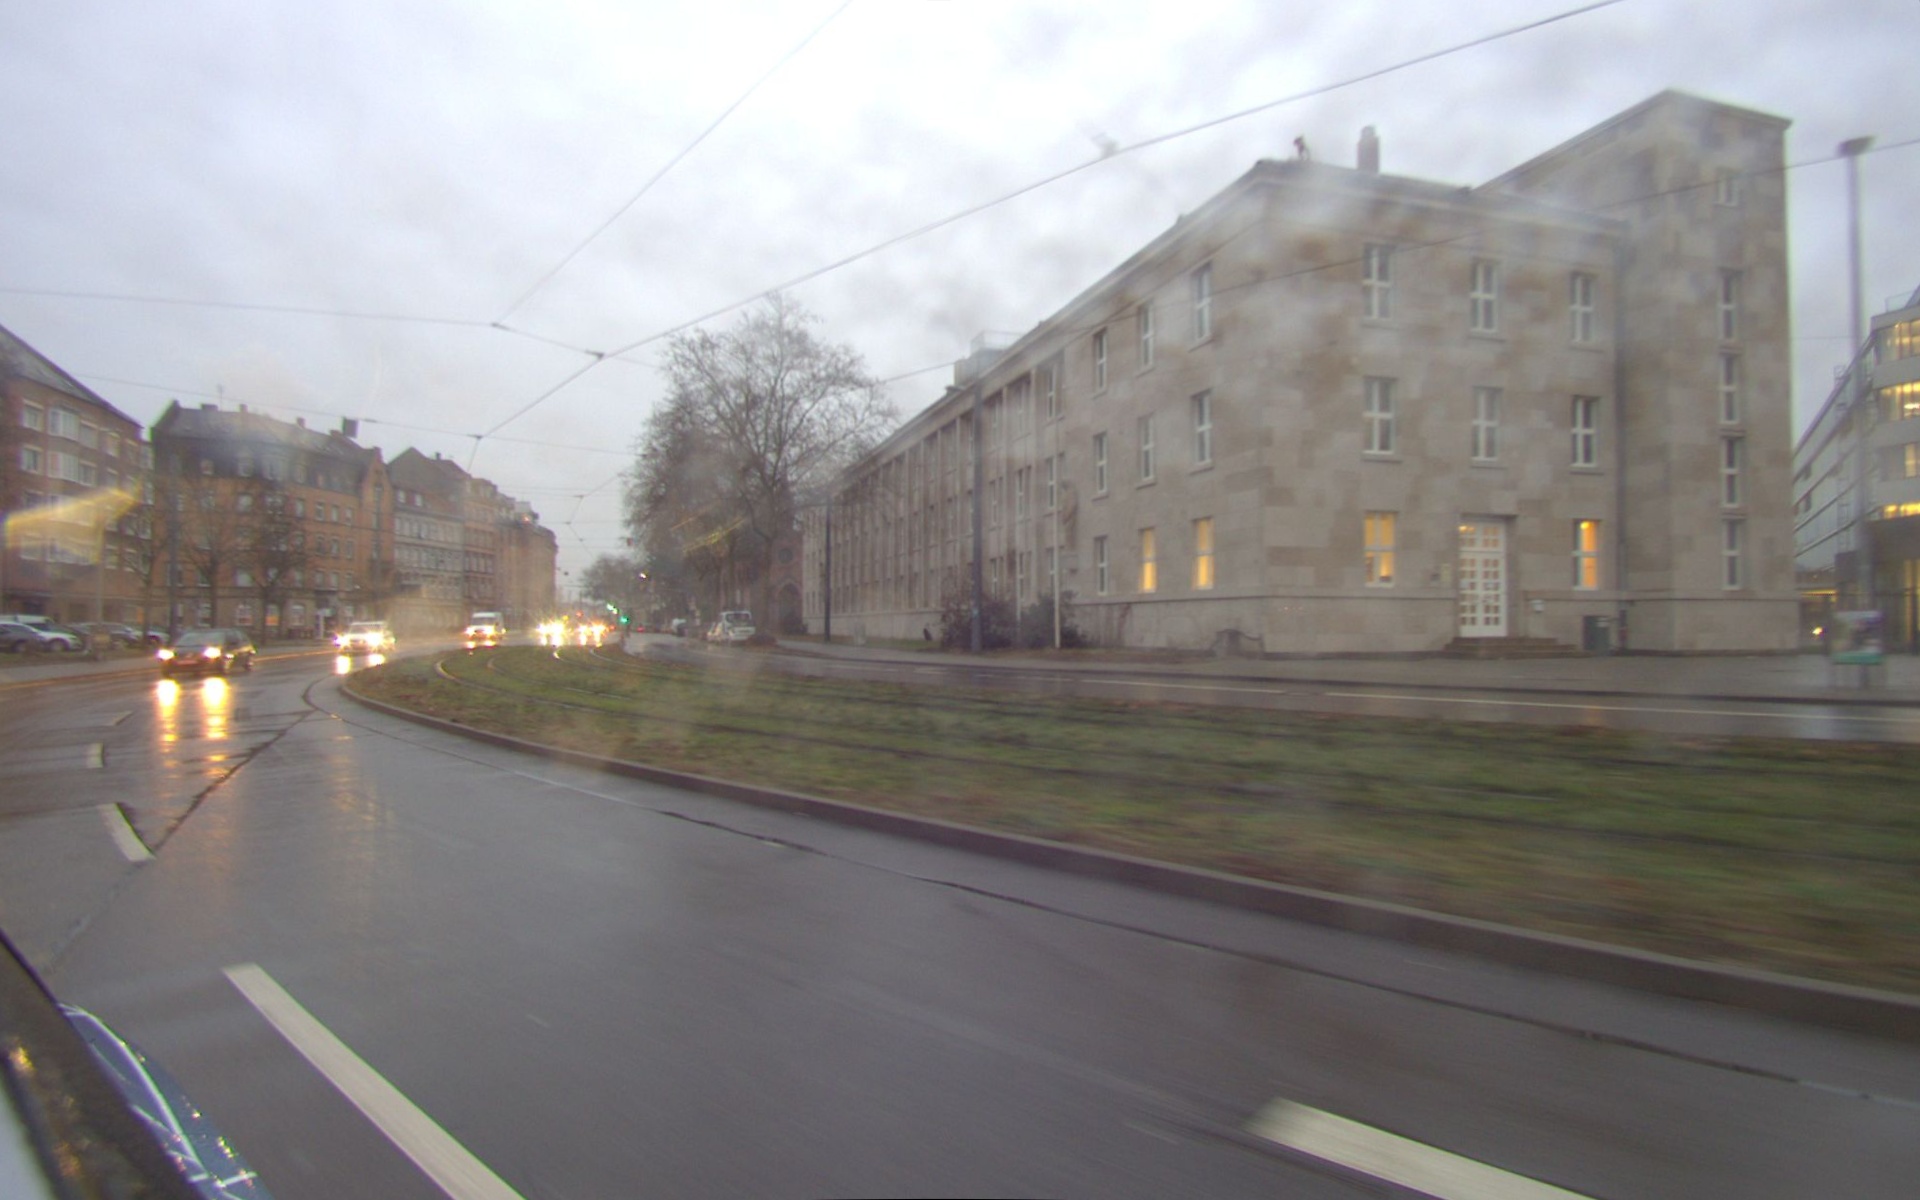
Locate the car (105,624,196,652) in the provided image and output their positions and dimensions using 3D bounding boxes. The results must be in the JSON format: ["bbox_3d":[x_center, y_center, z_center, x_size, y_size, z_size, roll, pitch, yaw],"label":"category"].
[{"bbox_3d":[-43.396,2.014,54.306,3.709,1.364,1.603,-1,0,-42],"label":"car"}]

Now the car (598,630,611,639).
[{"bbox_3d":[-72.406,7.037,206.351,1.922,1.829,4.009,0,-1,-11],"label":"car"}]

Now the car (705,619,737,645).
[{"bbox_3d":[-16.857,2.222,71.284,1.796,1.667,3.871,-2,0,-19],"label":"car"}]

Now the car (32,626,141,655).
[{"bbox_3d":[-40.967,1.880,47.525,1.601,1.288,3.714,-2,-2,41],"label":"car"}]

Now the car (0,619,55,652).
[{"bbox_3d":[-52.436,1.946,56.311,1.647,1.716,3.475,-2,0,-14],"label":"car"}]

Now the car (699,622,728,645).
[{"bbox_3d":[-19.008,2.561,78.033,1.588,1.673,3.623,0,-2,-23],"label":"car"}]

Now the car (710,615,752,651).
[{"bbox_3d":[-13.927,1.948,61.371,1.966,2.029,4.524,-2,0,-19],"label":"car"}]

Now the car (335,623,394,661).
[{"bbox_3d":[-29.196,2.029,49.728,1.647,1.672,4.161,-2,0,-19],"label":"car"}]

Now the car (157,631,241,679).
[{"bbox_3d":[-24.038,1.694,32.067,1.563,1.437,3.144,1,-2,-26],"label":"car"}]

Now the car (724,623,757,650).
[{"bbox_3d":[-12.415,2.036,57.161,1.534,1.439,2.964,0,-1,-18],"label":"car"}]

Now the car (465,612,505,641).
[{"bbox_3d":[-41.150,2.274,87.807,2.095,2.398,5.654,-2,0,-15],"label":"car"}]

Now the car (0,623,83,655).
[{"bbox_3d":[-39.843,1.656,43.123,3.709,1.343,1.603,1,-2,-42],"label":"car"}]

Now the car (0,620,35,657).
[{"bbox_3d":[-39.152,1.595,39.886,1.695,1.416,3.820,-2,0,43],"label":"car"}]

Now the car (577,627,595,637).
[{"bbox_3d":[-58.322,5.008,157.920,1.866,1.424,3.955,0,-2,-10],"label":"car"}]

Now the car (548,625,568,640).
[{"bbox_3d":[-49.228,3.958,123.991,1.624,1.763,3.562,0,-2,-11],"label":"car"}]

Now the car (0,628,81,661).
[{"bbox_3d":[-41.104,1.957,44.443,3.709,1.341,1.603,-1,0,-42],"label":"car"}]

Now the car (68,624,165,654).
[{"bbox_3d":[-42.586,1.955,51.127,3.709,1.364,1.603,-1,0,-42],"label":"car"}]
